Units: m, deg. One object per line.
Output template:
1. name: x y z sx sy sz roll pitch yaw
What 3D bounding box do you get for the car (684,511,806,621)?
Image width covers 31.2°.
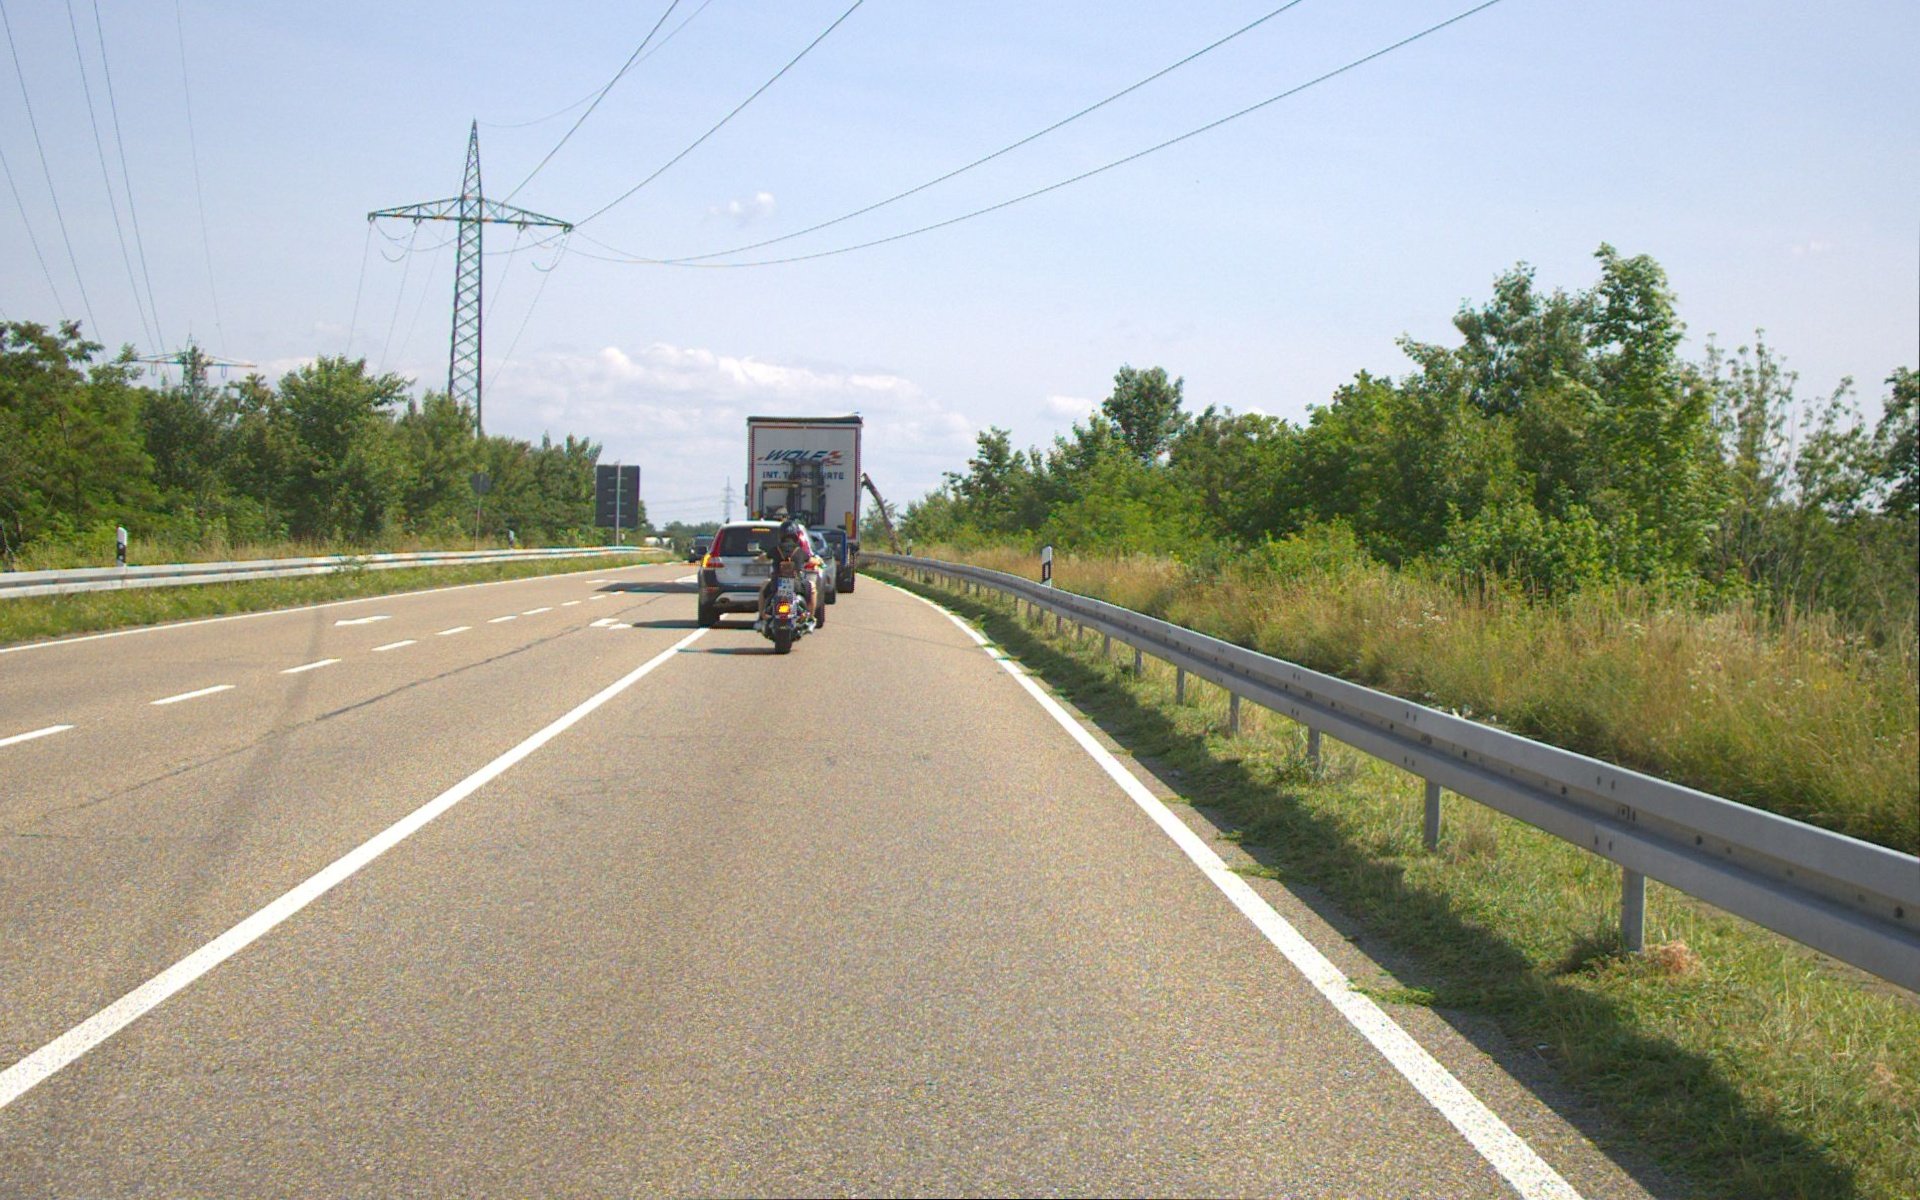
1. car: -3.140 -0.524 50.716 1.701 1.531 3.499 1 1 -3

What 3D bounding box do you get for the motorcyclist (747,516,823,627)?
1. motorcyclist: -2.074 -0.339 40.562 0.837 1.276 0.919 1 1 -5

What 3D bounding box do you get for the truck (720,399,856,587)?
1. truck: -4.129 -2.570 85.022 2.967 4.172 14.823 1 1 -2

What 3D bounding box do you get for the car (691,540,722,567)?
1. car: -14.646 -2.684 198.823 1.727 1.486 4.423 1 1 -3

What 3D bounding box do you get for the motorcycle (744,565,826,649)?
1. motorcycle: -2.077 0.066 40.481 0.858 0.912 2.228 1 1 -5
